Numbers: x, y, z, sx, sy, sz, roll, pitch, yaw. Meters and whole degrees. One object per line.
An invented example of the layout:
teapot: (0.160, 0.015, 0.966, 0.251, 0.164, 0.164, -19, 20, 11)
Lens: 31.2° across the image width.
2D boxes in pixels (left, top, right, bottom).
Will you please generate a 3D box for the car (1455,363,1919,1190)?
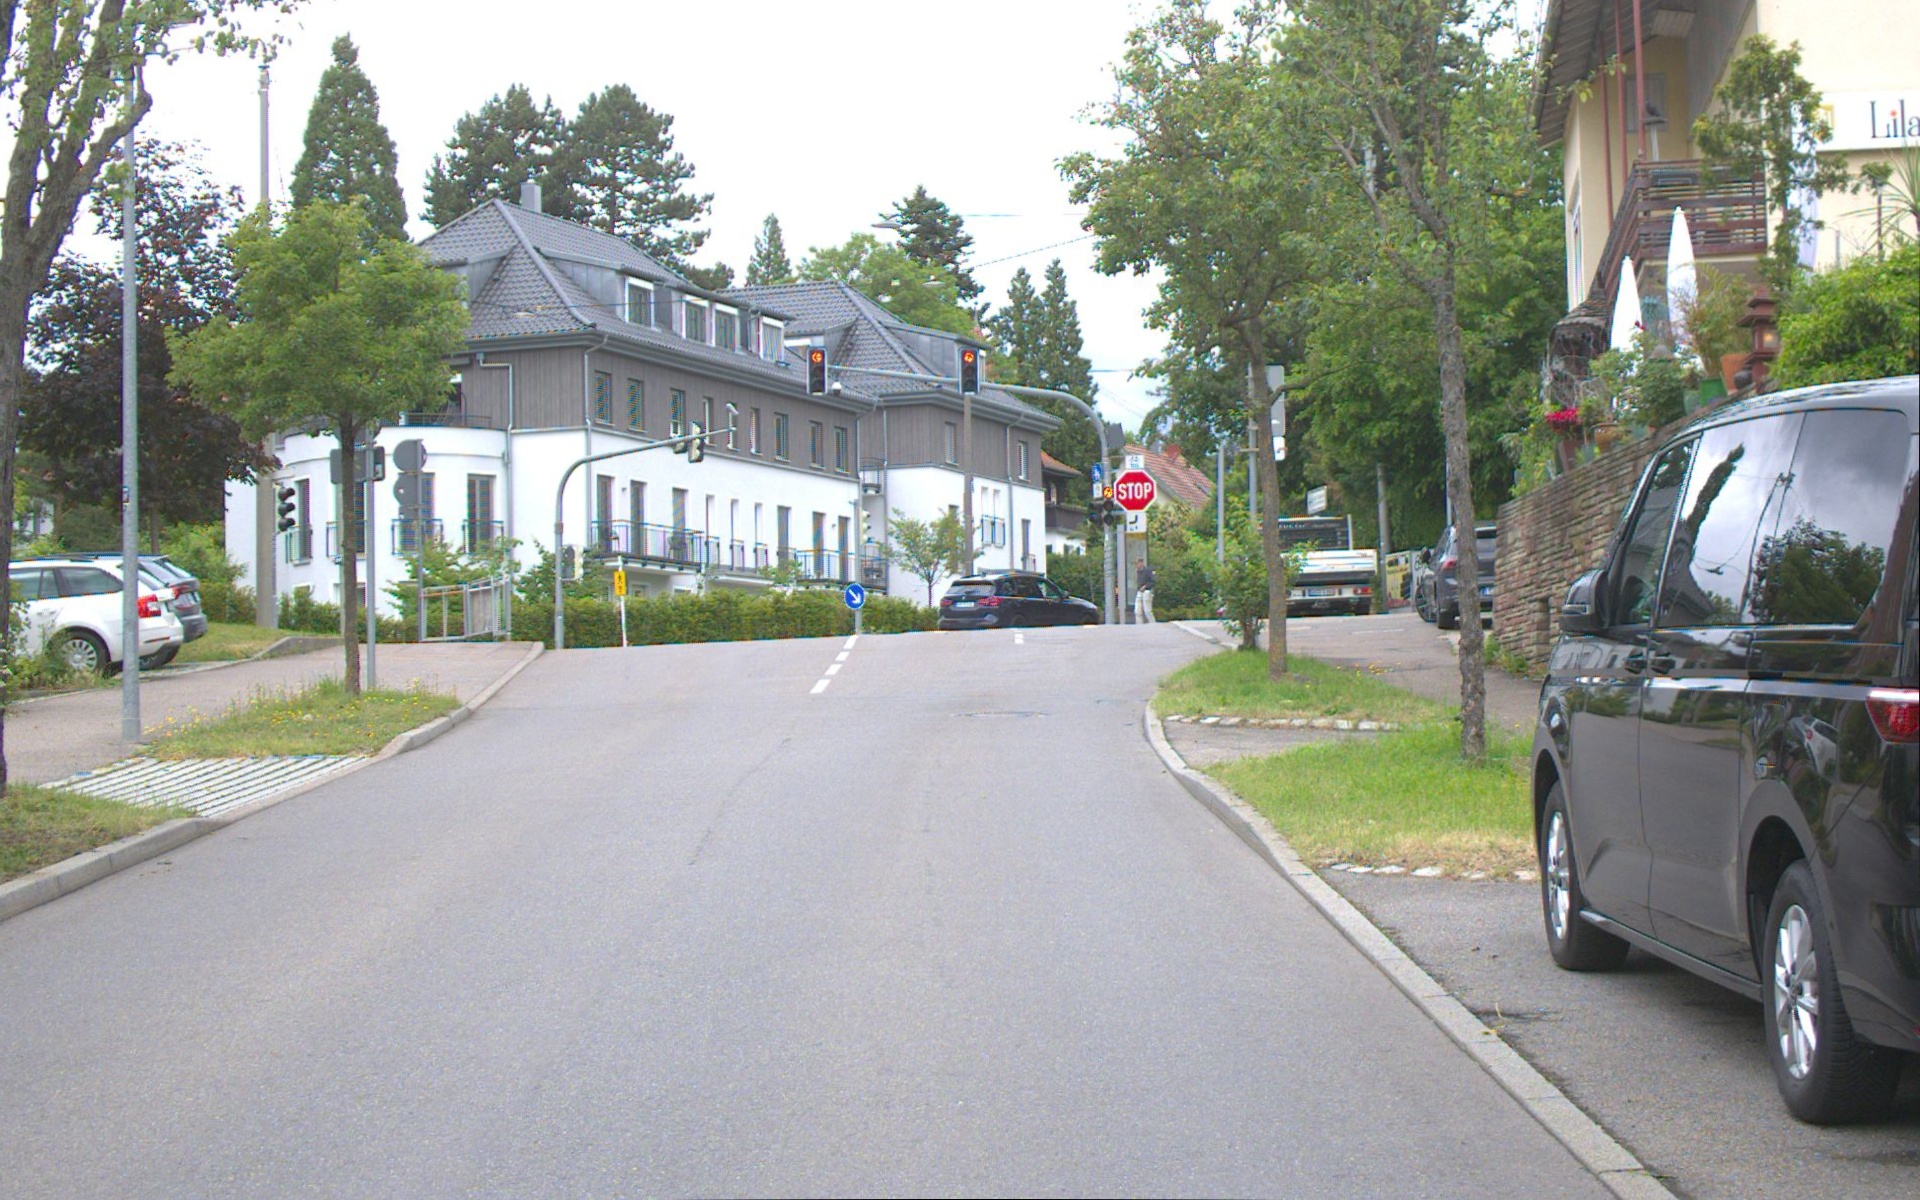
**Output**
car: (2.866, 0.330, 10.240, 1.936, 1.831, 5.219, -1, 1, -1)

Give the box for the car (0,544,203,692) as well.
car: (-11.200, 0.255, 40.232, 4.259, 1.618, 2.014, -2, 0, -3)

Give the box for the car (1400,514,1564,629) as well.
car: (7.437, -0.411, 49.350, 1.848, 1.467, 4.385, -4, 0, 3)

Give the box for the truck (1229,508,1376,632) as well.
truck: (6.798, -0.555, 68.941, 2.183, 2.188, 5.881, -1, -2, -1)

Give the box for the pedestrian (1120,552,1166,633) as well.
pedestrian: (3.829, -0.164, 72.108, 0.698, 1.676, 0.686, -2, 1, -23)

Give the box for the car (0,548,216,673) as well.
car: (-11.618, 0.146, 44.314, 3.759, 1.459, 1.732, -2, 2, -6)

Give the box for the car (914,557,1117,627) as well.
car: (1.337, -0.201, 80.852, 2.160, 1.486, 4.700, 0, 1, 43)
